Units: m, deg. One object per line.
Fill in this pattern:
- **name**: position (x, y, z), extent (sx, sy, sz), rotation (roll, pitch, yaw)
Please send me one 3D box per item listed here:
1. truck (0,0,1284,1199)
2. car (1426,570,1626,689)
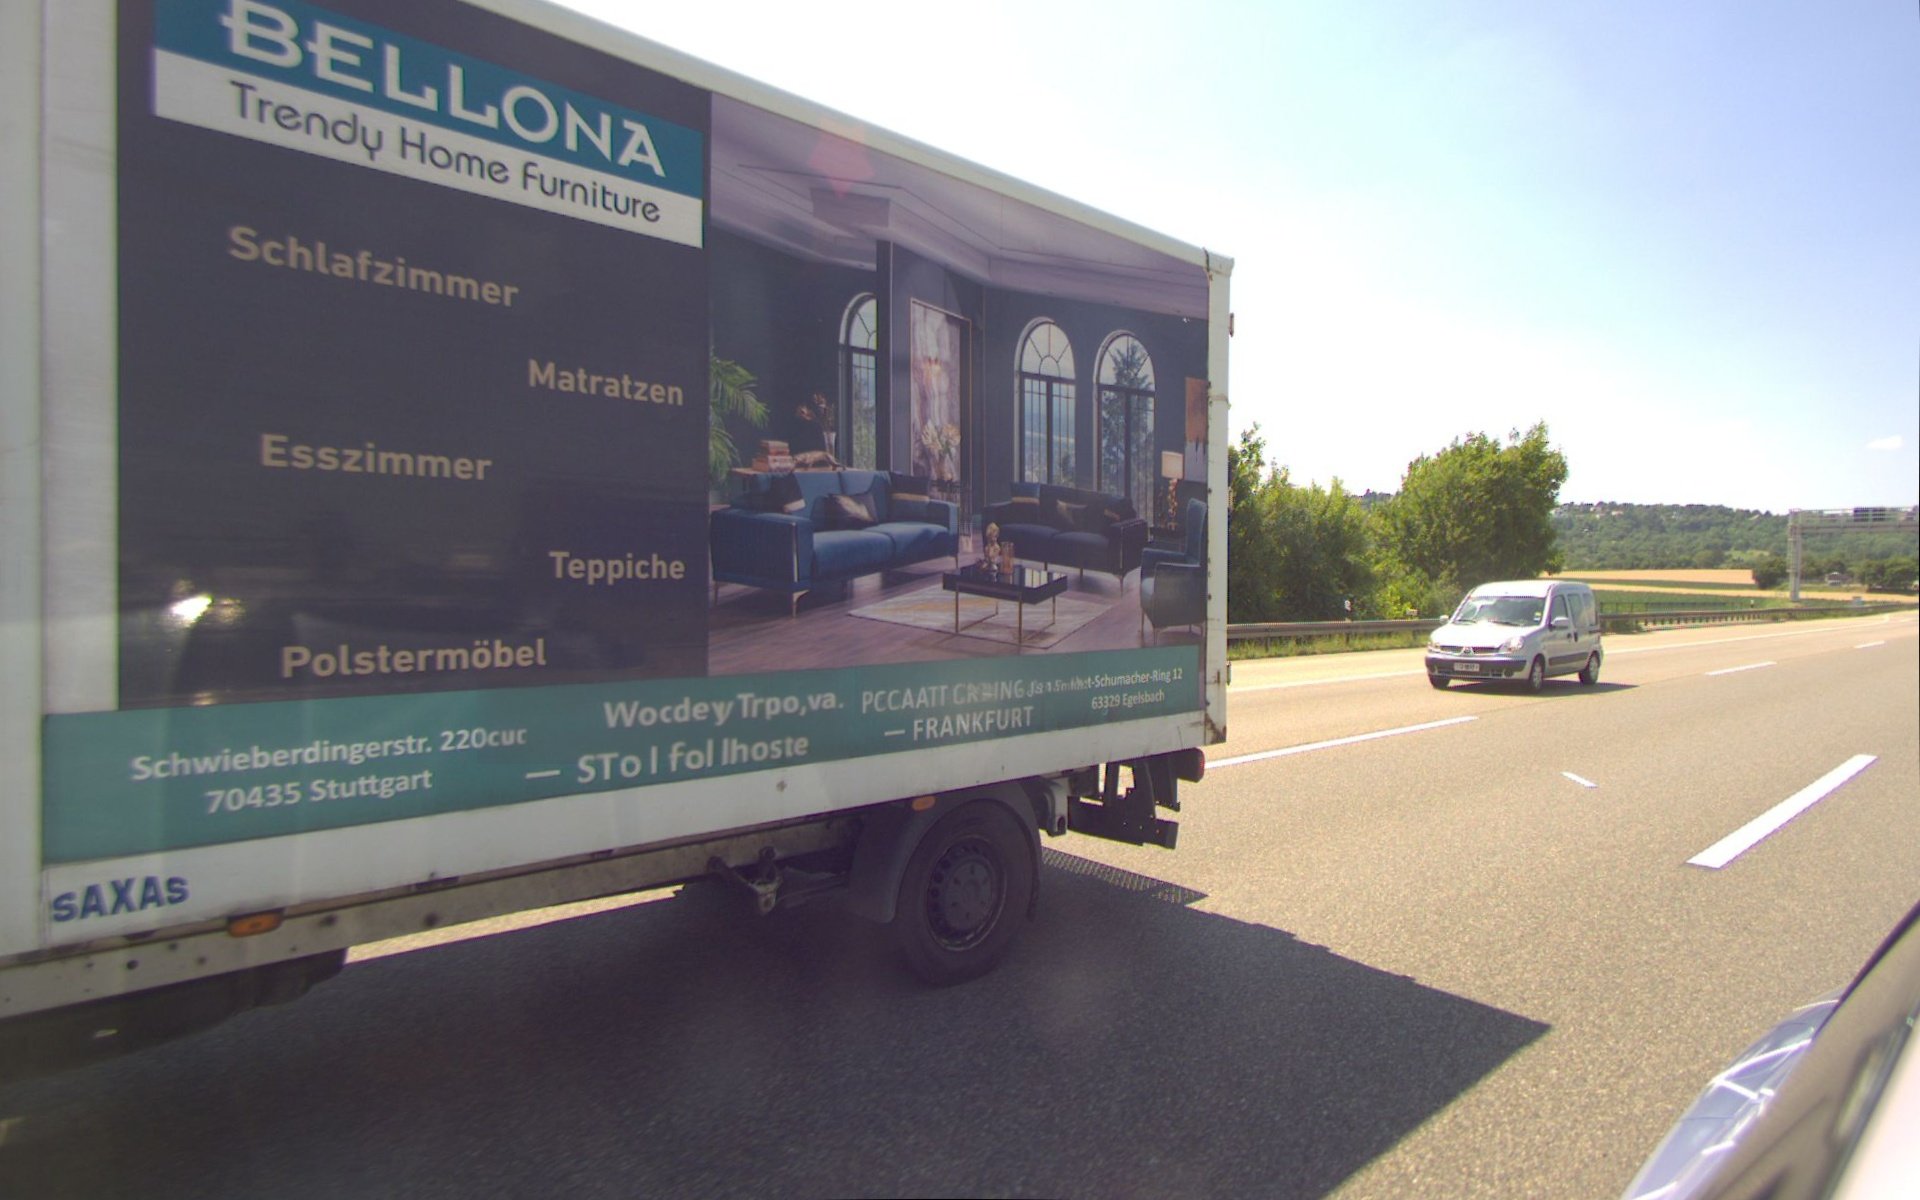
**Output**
- **truck**: position (-1.691, -0.192, 3.573), extent (6.633, 3.106, 2.325), rotation (0, 0, -41)
- **car**: position (9.428, 0.428, 16.750), extent (3.902, 1.759, 1.630), rotation (0, 0, -40)
